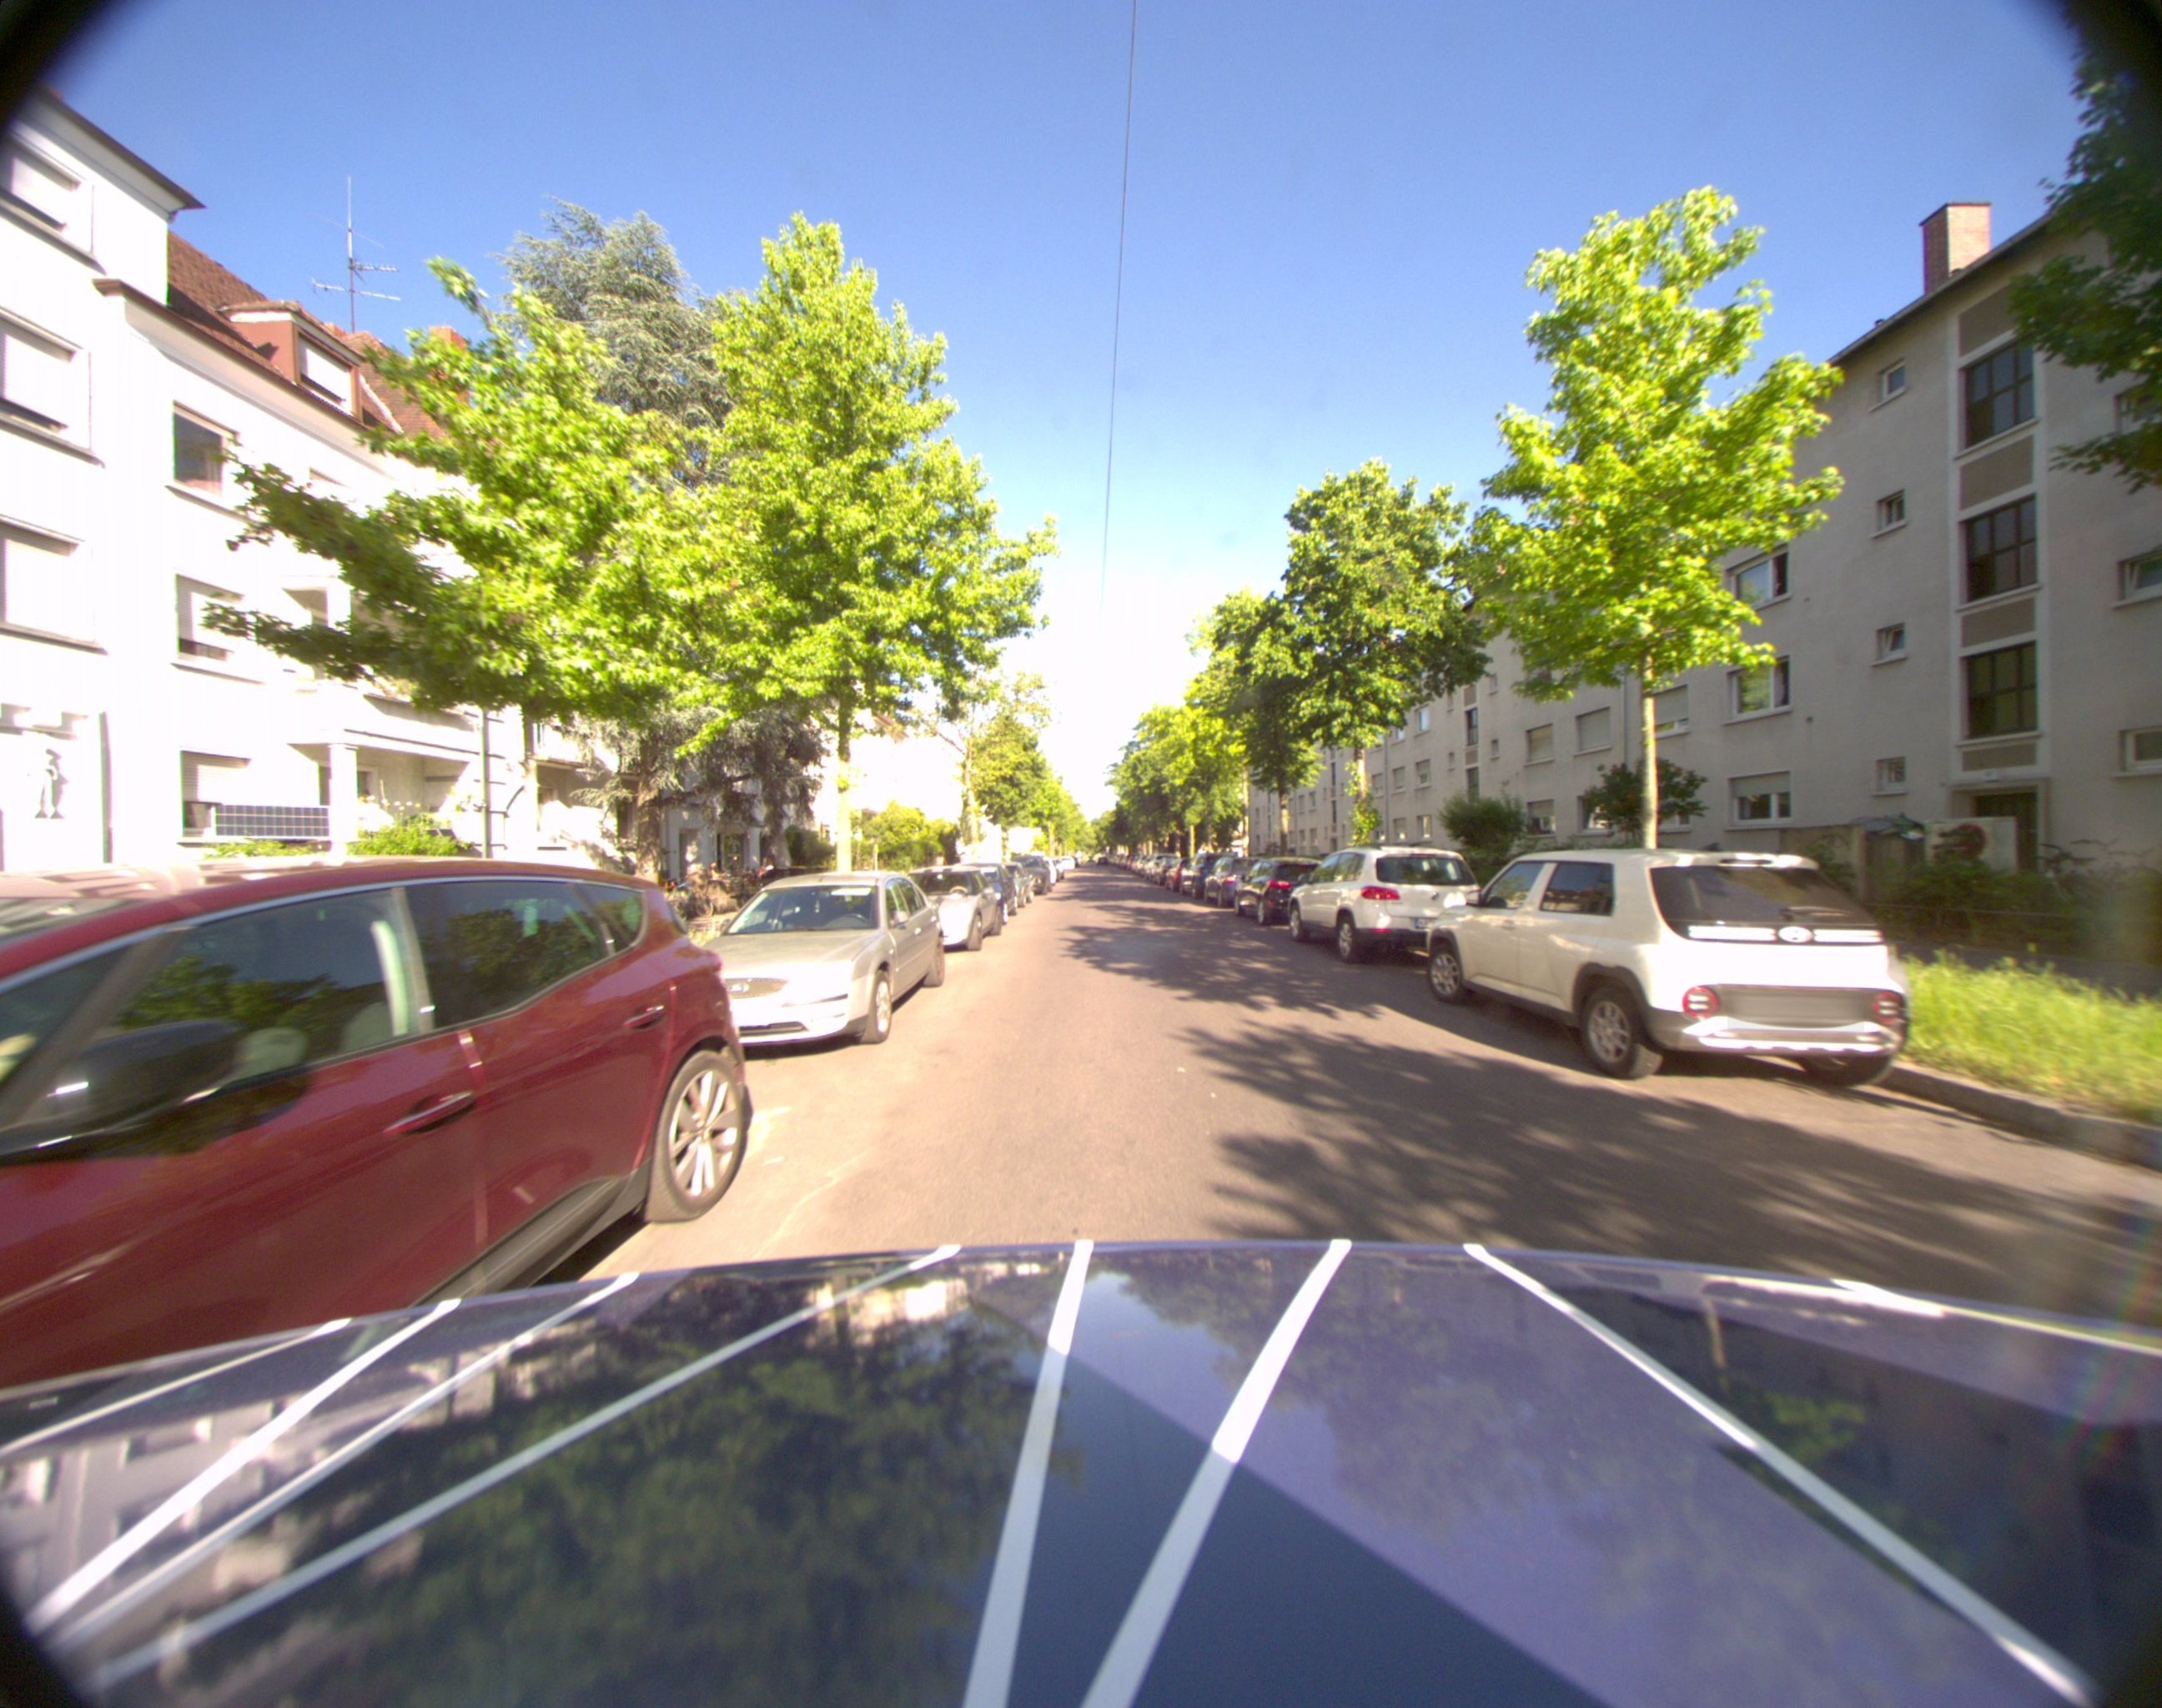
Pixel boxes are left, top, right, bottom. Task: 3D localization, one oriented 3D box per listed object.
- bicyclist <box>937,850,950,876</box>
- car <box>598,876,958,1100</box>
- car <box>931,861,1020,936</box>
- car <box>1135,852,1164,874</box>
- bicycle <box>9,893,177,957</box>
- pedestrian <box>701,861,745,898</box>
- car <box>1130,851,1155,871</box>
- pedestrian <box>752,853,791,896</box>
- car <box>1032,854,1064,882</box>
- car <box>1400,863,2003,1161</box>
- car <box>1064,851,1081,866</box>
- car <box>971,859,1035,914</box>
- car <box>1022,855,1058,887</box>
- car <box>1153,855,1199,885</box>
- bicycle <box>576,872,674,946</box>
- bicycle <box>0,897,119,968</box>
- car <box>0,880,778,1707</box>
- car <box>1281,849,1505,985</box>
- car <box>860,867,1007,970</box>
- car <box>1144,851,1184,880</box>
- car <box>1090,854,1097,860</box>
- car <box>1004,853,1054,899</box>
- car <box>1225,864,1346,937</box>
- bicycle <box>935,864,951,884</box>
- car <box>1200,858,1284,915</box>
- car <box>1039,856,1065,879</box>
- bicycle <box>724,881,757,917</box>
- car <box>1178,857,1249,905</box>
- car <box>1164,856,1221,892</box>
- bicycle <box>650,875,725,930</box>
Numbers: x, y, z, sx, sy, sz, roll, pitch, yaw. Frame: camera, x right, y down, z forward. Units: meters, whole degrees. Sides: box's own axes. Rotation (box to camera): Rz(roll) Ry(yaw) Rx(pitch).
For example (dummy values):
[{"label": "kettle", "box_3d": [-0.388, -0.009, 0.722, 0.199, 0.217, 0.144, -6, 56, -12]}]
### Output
[{"label": "bicyclist", "box_3d": [-7.188, 0.451, 39.706, 0.497, 1.331, 0.719, 1, 1, 1]}, {"label": "car", "box_3d": [-2.510, 1.013, 7.622, 1.715, 1.399, 4.490, 0, 1, 1]}, {"label": "car", "box_3d": [-2.429, 0.983, 18.332, 1.609, 1.455, 3.870, -3, 1, -1]}, {"label": "car", "box_3d": [5.036, 0.630, 56.146, 1.768, 1.487, 4.015, -3, 1, 0]}, {"label": "bicycle", "box_3d": [-15.282, 1.082, 11.770, 2.034, 0.913, 0.559, 0, 1, 5]}, {"label": "pedestrian", "box_3d": [-11.574, 0.817, 24.593, 1.036, 1.136, 0.716, -3, 1, -5]}, {"label": "car", "box_3d": [5.146, 0.566, 63.793, 1.768, 1.487, 4.015, -3, 1, 0]}, {"label": "pedestrian", "box_3d": [-10.150, 0.645, 24.925, 1.038, 1.370, 0.714, -1, 1, -34]}, {"label": "car", "box_3d": [-1.987, 0.844, 46.738, 1.769, 1.487, 4.014, -3, 1, -1]}, {"label": "car", "box_3d": [4.404, 0.931, 6.352, 1.721, 1.517, 3.999, -3, 1, 0]}, {"label": "car", "box_3d": [-0.942, 0.482, 87.587, 1.891, 1.624, 3.888, -1, 0, 1]}, {"label": "car", "box_3d": [-2.381, 0.945, 23.942, 1.609, 1.415, 4.014, -3, 1, -1]}, {"label": "car", "box_3d": [-2.166, 0.890, 41.242, 1.769, 1.487, 3.932, -3, 1, -1]}, {"label": "car", "box_3d": [4.796, 0.782, 38.823, 1.879, 1.367, 4.182, 0, 1, 0]}, {"label": "bicycle", "box_3d": [-8.660, 1.001, 14.546, 0.490, 1.190, 2.175, -3, 1, 0]}, {"label": "bicycle", "box_3d": [-13.356, 1.001, 9.408, 2.065, 0.765, 0.626, -3, 1, 1]}, {"label": "car", "box_3d": [-2.648, 0.967, 1.798, 1.934, 1.558, 4.593, 1, 1, 1]}, {"label": "car", "box_3d": [4.458, 0.777, 11.617, 1.707, 1.670, 4.223, 0, 1, 0]}, {"label": "car", "box_3d": [-2.451, 1.038, 13.588, 1.768, 1.389, 3.695, -3, 1, 1]}, {"label": "car", "box_3d": [4.810, 0.646, 44.460, 1.879, 1.553, 4.182, 0, 1, 0]}, {"label": "car", "box_3d": [3.057, 0.740, 188.067, 1.769, 1.486, 3.782, -1, 0, -1]}, {"label": "car", "box_3d": [-2.060, 0.834, 31.090, 1.769, 1.627, 4.014, -3, 1, -1]}, {"label": "car", "box_3d": [4.539, 0.969, 17.486, 1.662, 1.384, 4.237, -1, 0, 0]}, {"label": "bicycle", "box_3d": [-7.176, 1.015, 39.601, 0.459, 0.956, 1.787, 1, 1, 1]}, {"label": "car", "box_3d": [4.608, 0.886, 22.279, 1.653, 1.437, 3.966, 0, 1, 0]}, {"label": "car", "box_3d": [-1.940, 0.878, 51.490, 1.609, 1.402, 3.669, -3, 1, -1]}, {"label": "bicycle", "box_3d": [-8.676, 1.142, 19.382, 0.331, 0.845, 1.050, -1, 0, 1]}, {"label": "car", "box_3d": [4.639, 0.892, 27.196, 1.820, 1.576, 4.408, 0, 0, 0]}, {"label": "car", "box_3d": [4.663, 0.796, 32.271, 1.879, 1.367, 4.068, 0, 1, 0]}, {"label": "bicycle", "box_3d": [-8.809, 1.054, 17.113, 0.433, 1.006, 2.248, -7, 1, -1]}]
